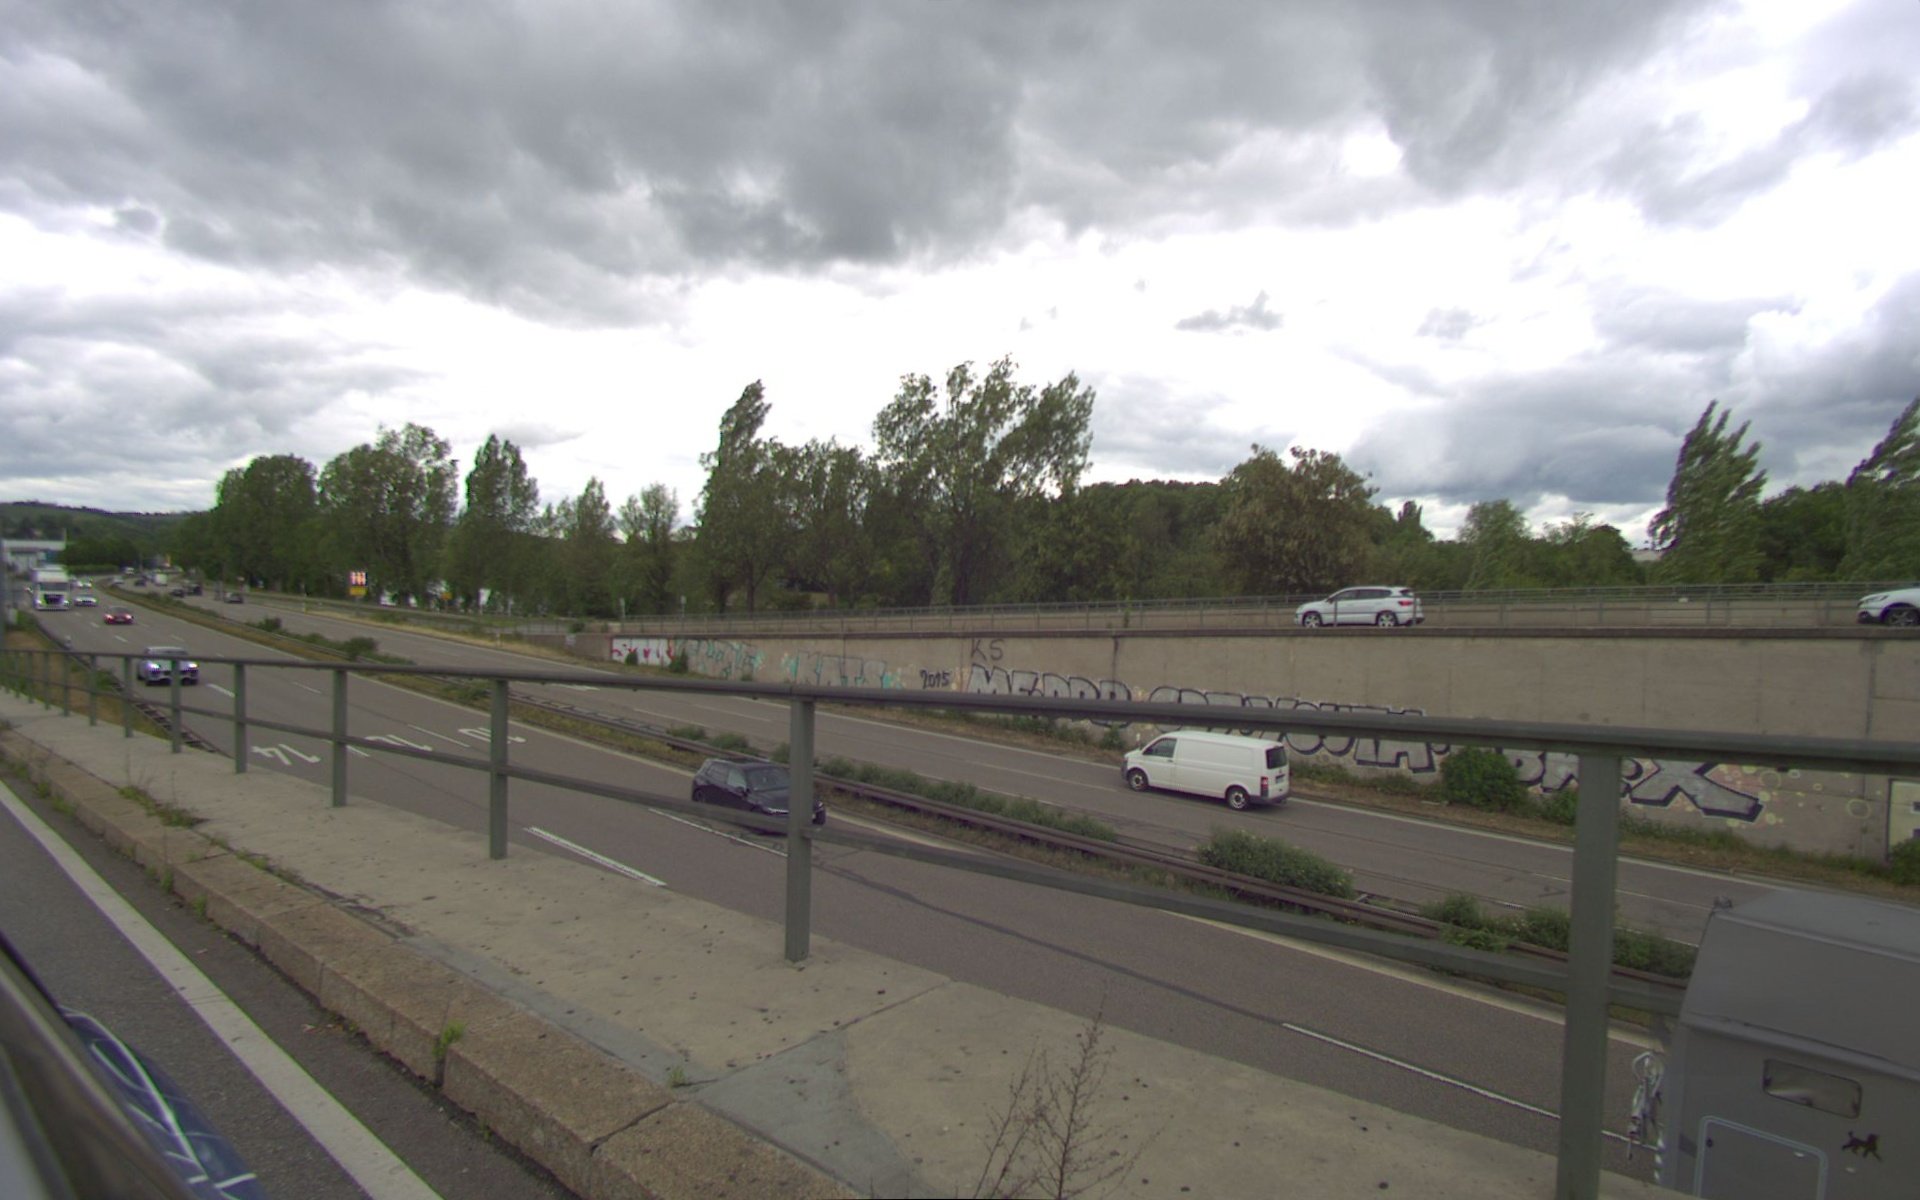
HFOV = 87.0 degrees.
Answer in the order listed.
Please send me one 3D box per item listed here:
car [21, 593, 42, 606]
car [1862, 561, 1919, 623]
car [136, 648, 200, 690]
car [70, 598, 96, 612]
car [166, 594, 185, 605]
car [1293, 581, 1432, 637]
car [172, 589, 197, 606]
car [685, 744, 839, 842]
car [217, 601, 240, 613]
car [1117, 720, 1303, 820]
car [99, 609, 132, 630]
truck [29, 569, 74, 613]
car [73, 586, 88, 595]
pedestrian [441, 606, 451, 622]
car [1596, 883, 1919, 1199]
[{"bbox_3d":[-124.990,-0.073,136.205,4.166,1.619,1.834,3,2,43],"label":"car"},{"bbox_3d":[26.064,-0.240,25.927,4.346,1.588,1.813,-2,-1,43],"label":"car"},{"bbox_3d":[-38.334,3.279,48.970,4.280,1.813,1.820,-2,-1,43],"label":"car"},{"bbox_3d":[-98.880,0.573,114.138,4.279,1.429,1.894,3,2,44],"label":"car"},{"bbox_3d":[-116.674,-0.094,150.515,3.859,1.512,1.645,3,1,43],"label":"car"},{"bbox_3d":[14.356,0.354,36.213,4.211,1.884,1.973,-2,-1,41],"label":"car"},{"bbox_3d":[-125.435,-0.455,163.715,6.114,2.566,2.220,2,1,42],"label":"car"},{"bbox_3d":[-5.119,4.832,25.864,4.221,1.581,1.730,2,2,43],"label":"car"},{"bbox_3d":[-97.617,0.883,134.987,4.111,1.386,1.692,3,0,43],"label":"car"},{"bbox_3d":[7.544,5.077,30.939,5.177,2.082,1.972,2,2,42],"label":"car"},{"bbox_3d":[-72.288,1.658,86.608,4.167,1.451,1.732,4,3,44],"label":"car"},{"bbox_3d":[-93.033,-0.915,103.620,6.698,4.283,2.721,2,1,43],"label":"truck"},{"bbox_3d":[-161.962,-1.737,186.385,1.833,1.619,4.169,2,0,-45],"label":"car"},{"bbox_3d":[-59.714,1.620,117.560,1.078,1.718,0.820,3,2,43],"label":"pedestrian"},{"bbox_3d":[9.622,4.886,7.804,7.662,3.264,2.335,2,1,43],"label":"car"}]
